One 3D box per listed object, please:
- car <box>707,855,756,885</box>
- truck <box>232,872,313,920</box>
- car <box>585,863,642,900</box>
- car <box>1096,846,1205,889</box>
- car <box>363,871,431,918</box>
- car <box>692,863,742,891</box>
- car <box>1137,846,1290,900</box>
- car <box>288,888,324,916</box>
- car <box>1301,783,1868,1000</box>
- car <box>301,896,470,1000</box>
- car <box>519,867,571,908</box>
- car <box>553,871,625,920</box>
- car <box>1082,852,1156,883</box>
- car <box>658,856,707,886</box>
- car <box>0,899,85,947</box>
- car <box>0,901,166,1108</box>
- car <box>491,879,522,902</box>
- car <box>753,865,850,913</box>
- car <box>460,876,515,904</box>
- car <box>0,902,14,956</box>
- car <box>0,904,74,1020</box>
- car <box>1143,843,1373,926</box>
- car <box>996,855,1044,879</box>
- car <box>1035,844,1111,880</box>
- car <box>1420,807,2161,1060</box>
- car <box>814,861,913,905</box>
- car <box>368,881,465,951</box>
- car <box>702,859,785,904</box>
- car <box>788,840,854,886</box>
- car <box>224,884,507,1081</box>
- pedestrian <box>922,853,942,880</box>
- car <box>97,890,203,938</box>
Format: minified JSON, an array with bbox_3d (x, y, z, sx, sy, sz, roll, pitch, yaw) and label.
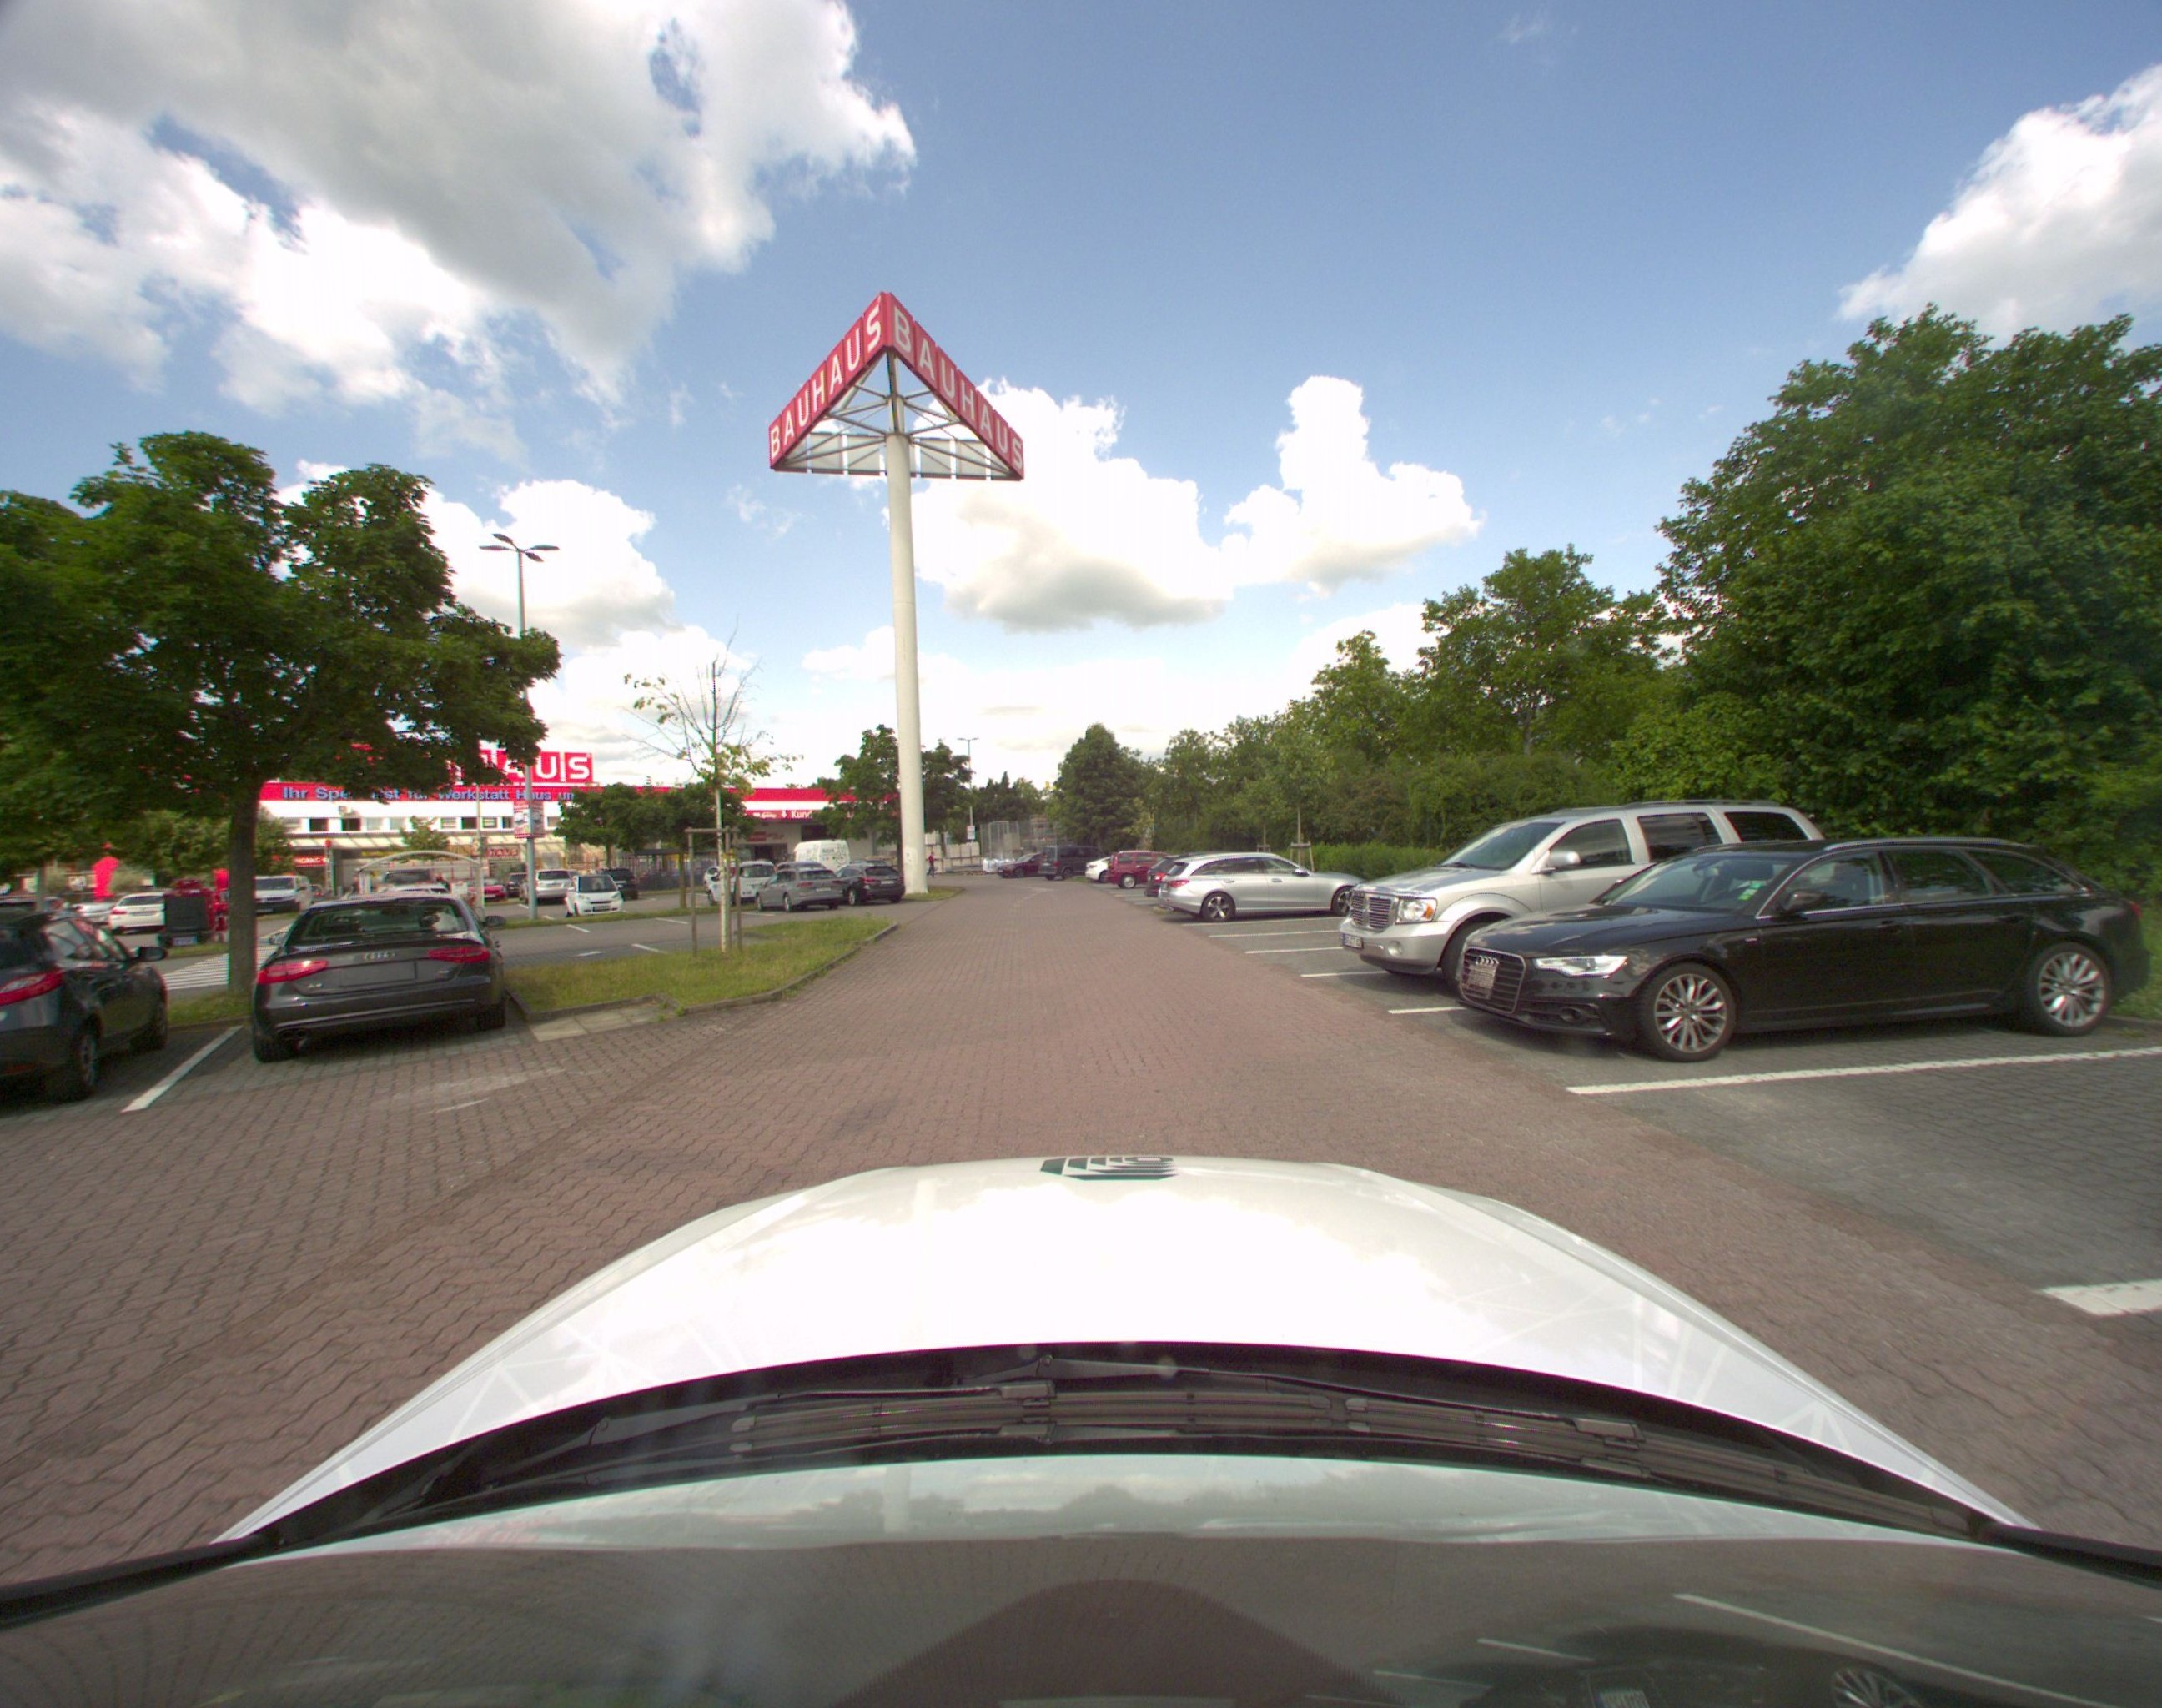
[{"bbox_3d":[-24.823,1.180,57.804,2.011,2.014,3.952,-1,-2,-42],"label":"car"},{"bbox_3d":[-36.771,1.891,37.181,1.869,2.014,5.347,1,-3,-37],"label":"truck"},{"bbox_3d":[-22.886,1.301,39.831,1.774,1.524,3.430,-4,4,-40],"label":"car"},{"bbox_3d":[2.938,0.560,34.947,4.302,1.596,1.995,-3,0,-7],"label":"car"},{"bbox_3d":[-29.004,1.688,34.483,2.011,1.778,3.952,-3,0,-42],"label":"car"},{"bbox_3d":[-19.631,1.262,43.871,1.551,1.405,3.582,1,-3,-40],"label":"car"},{"bbox_3d":[3.703,0.552,23.133,3.982,1.381,1.695,-1,-2,-6],"label":"car"},{"bbox_3d":[-43.411,2.647,45.617,1.398,1.397,3.357,-3,0,-44],"label":"car"},{"bbox_3d":[5.282,0.326,8.939,5.124,1.842,1.987,-3,0,-6],"label":"car"},{"bbox_3d":[-11.175,1.375,13.118,1.803,1.352,4.017,1,-3,-41],"label":"car"},{"bbox_3d":[-25.266,1.543,38.360,1.611,1.743,3.129,-4,1,-40],"label":"car"},{"bbox_3d":[-18.229,1.492,30.119,1.729,1.596,3.954,-3,0,-39],"label":"car"},{"bbox_3d":[1.948,0.702,42.382,3.626,1.468,1.631,-2,-1,-5],"label":"car"},{"bbox_3d":[-27.404,1.199,55.912,2.011,2.014,3.952,1,-3,-42],"label":"car"},{"bbox_3d":[-36.492,2.358,28.348,1.737,1.509,3.198,1,-3,-41],"label":"car"},{"bbox_3d":[-9.253,1.165,6.806,1.588,1.369,3.952,-3,0,-41],"label":"car"},{"bbox_3d":[-36.183,2.276,51.281,1.169,1.425,2.506,2,-3,-44],"label":"car"},{"bbox_3d":[-9.675,1.181,28.044,1.735,1.446,3.727,-3,0,-43],"label":"car"},{"bbox_3d":[-29.637,1.771,40.652,1.752,1.340,3.423,1,-3,-44],"label":"car"},{"bbox_3d":[-29.567,2.054,20.682,2.010,1.467,4.364,-3,0,-40],"label":"car"},{"bbox_3d":[-14.643,1.407,10.161,1.905,1.353,4.230,-3,0,-42],"label":"car"},{"bbox_3d":[3.829,0.632,18.040,4.632,1.504,1.781,-3,0,-6],"label":"car"},{"bbox_3d":[-3.832,0.827,51.015,2.699,1.432,1.341,1,-2,-31],"label":"car"},{"bbox_3d":[-0.447,0.447,47.702,4.074,2.019,1.926,-1,-2,-35],"label":"car"},{"bbox_3d":[5.409,0.498,6.443,4.703,1.451,1.836,-3,0,-6],"label":"car"},{"bbox_3d":[-8.138,1.081,30.309,1.838,1.439,4.041,-3,0,-43],"label":"car"},{"bbox_3d":[-17.916,1.597,21.901,1.762,1.615,3.679,-3,0,-43],"label":"car"},{"bbox_3d":[-13.645,1.097,32.825,1.921,1.596,3.952,-3,0,-41],"label":"car"},{"bbox_3d":[-15.004,0.498,46.885,2.063,2.510,4.674,-1,0,-39],"label":"car"},{"bbox_3d":[-7.446,1.110,8.788,1.780,1.432,4.490,-3,0,-38],"label":"car"},{"bbox_3d":[-9.726,0.819,53.134,0.911,1.665,0.789,-3,0,23],"label":"pedestrian"},{"bbox_3d":[-34.600,2.165,30.375,2.011,1.509,3.952,-3,0,-41],"label":"car"}]
